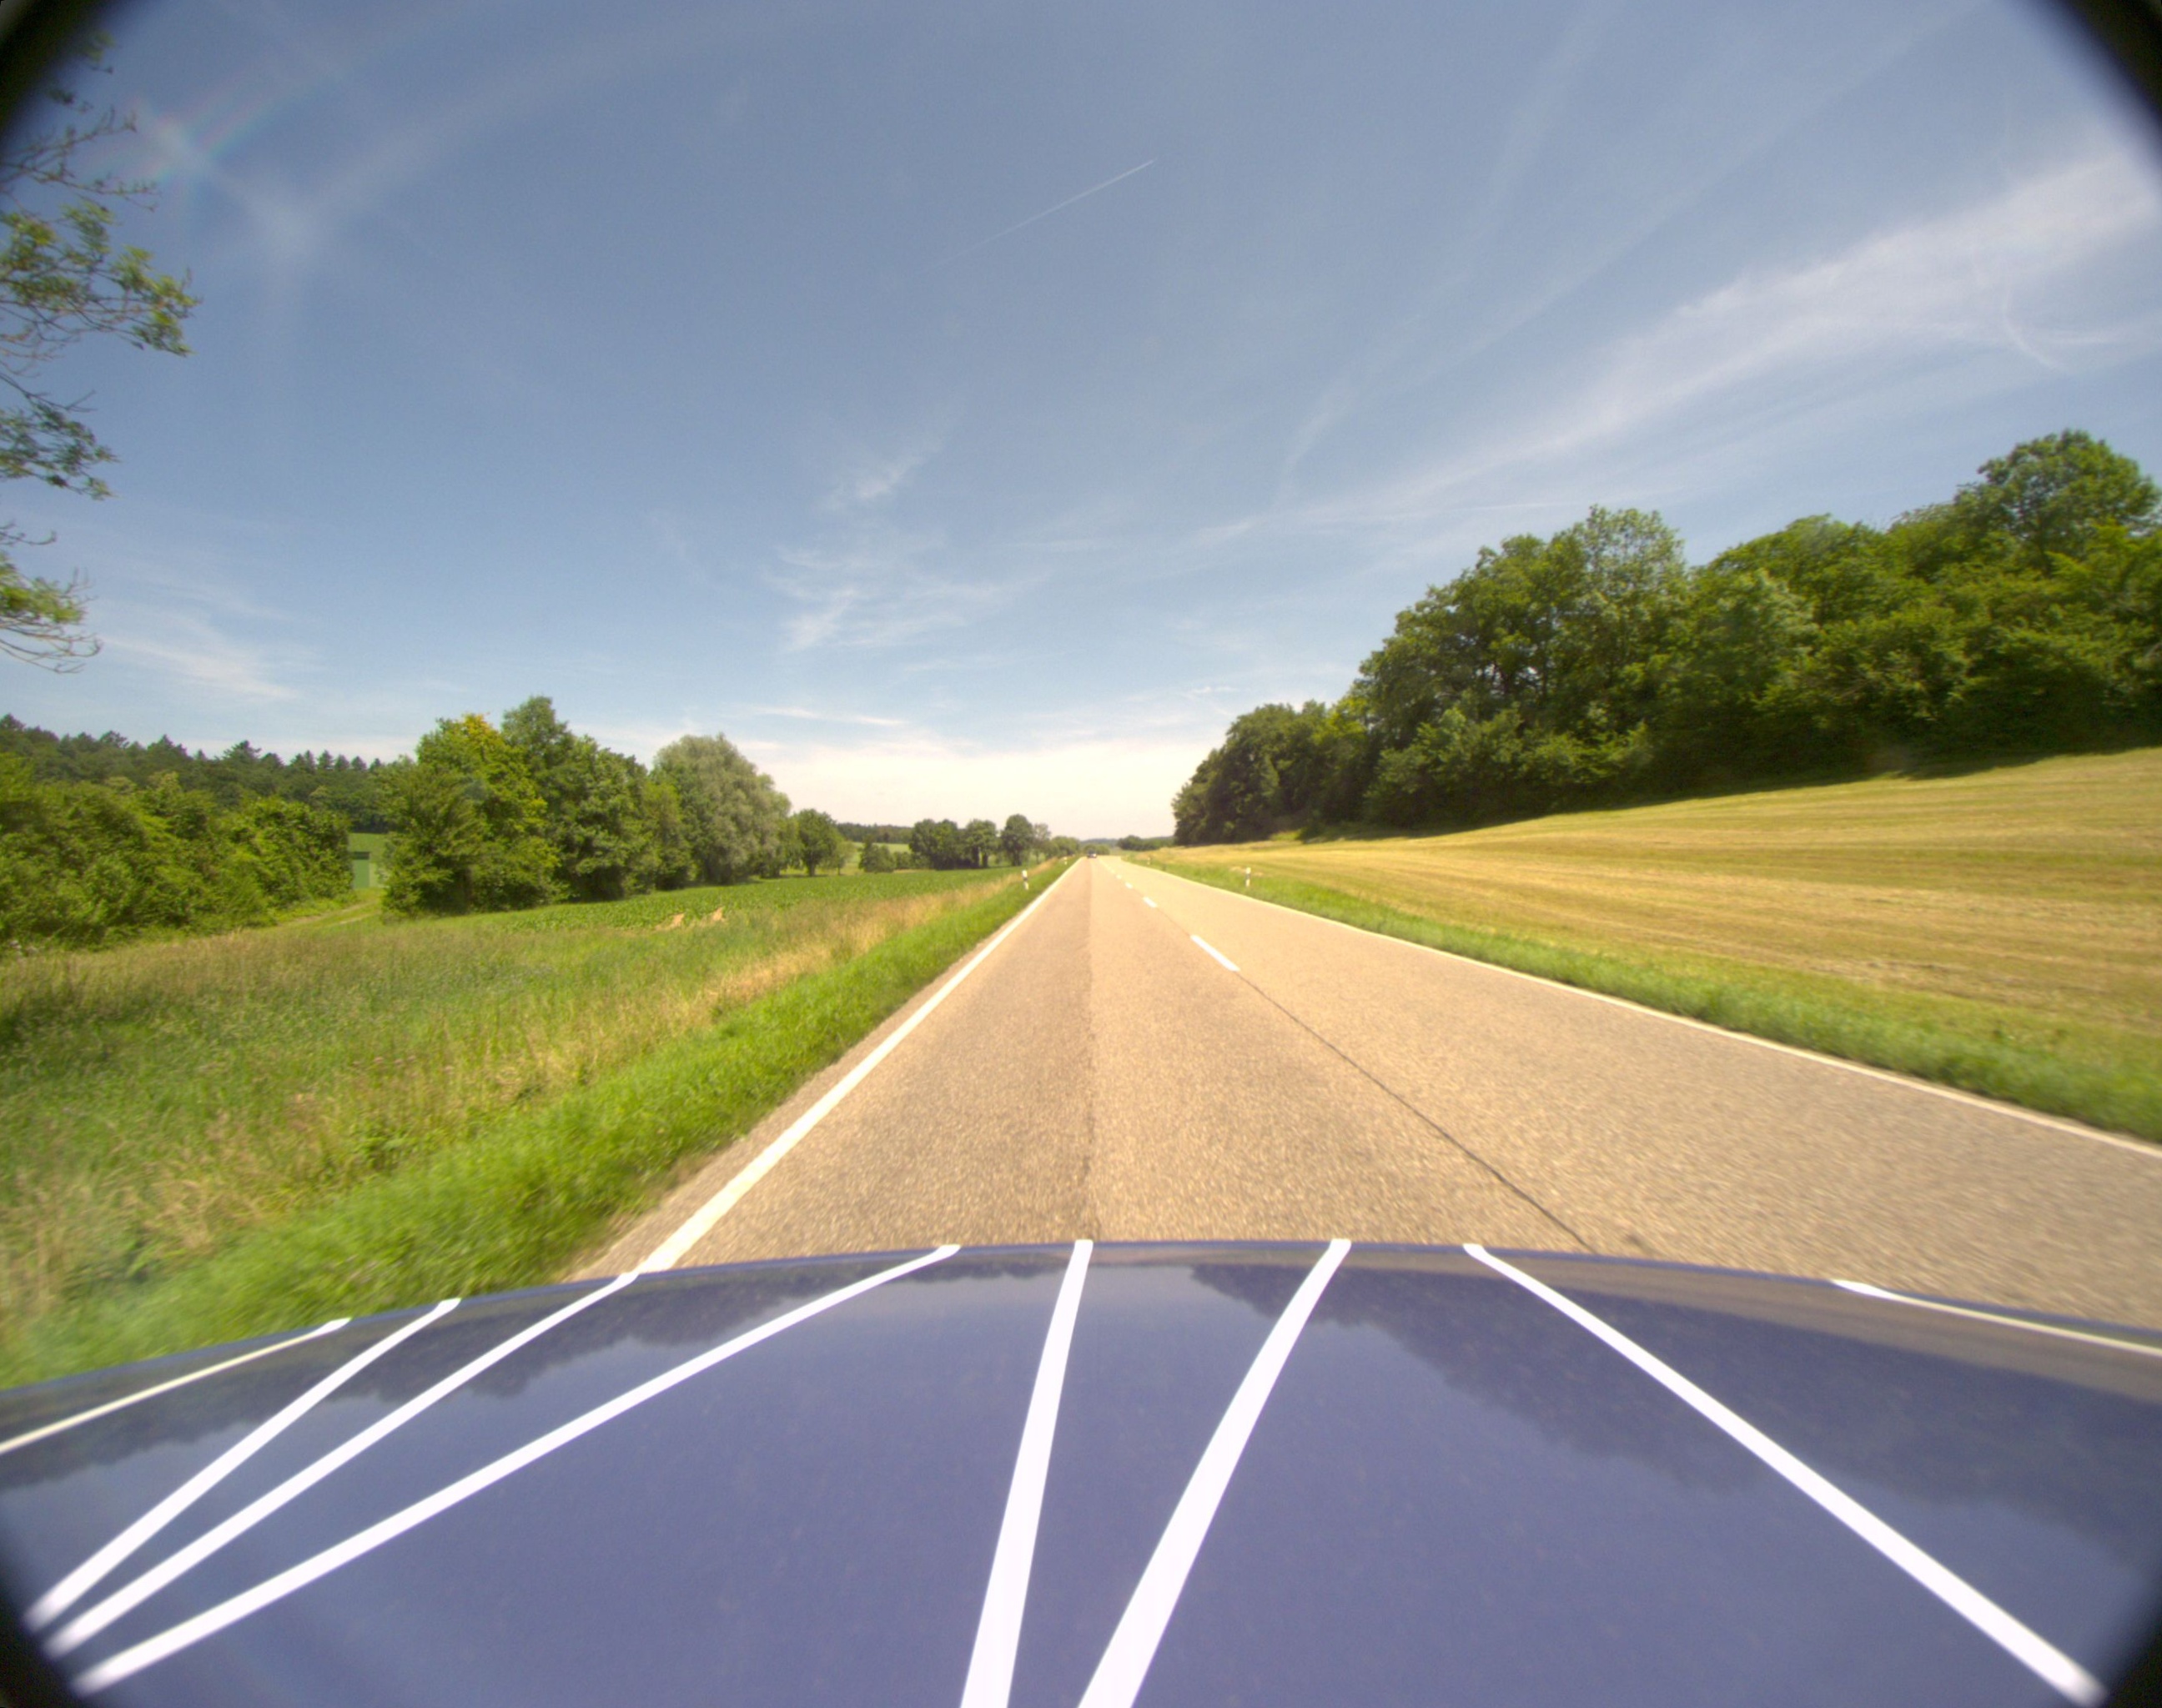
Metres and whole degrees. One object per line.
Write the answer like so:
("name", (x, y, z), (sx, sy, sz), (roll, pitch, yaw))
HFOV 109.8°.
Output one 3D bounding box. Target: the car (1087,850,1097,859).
("car", (2.194, 0.136, 149.813), (1.815, 1.569, 4.156), (-2, -3, 1))
